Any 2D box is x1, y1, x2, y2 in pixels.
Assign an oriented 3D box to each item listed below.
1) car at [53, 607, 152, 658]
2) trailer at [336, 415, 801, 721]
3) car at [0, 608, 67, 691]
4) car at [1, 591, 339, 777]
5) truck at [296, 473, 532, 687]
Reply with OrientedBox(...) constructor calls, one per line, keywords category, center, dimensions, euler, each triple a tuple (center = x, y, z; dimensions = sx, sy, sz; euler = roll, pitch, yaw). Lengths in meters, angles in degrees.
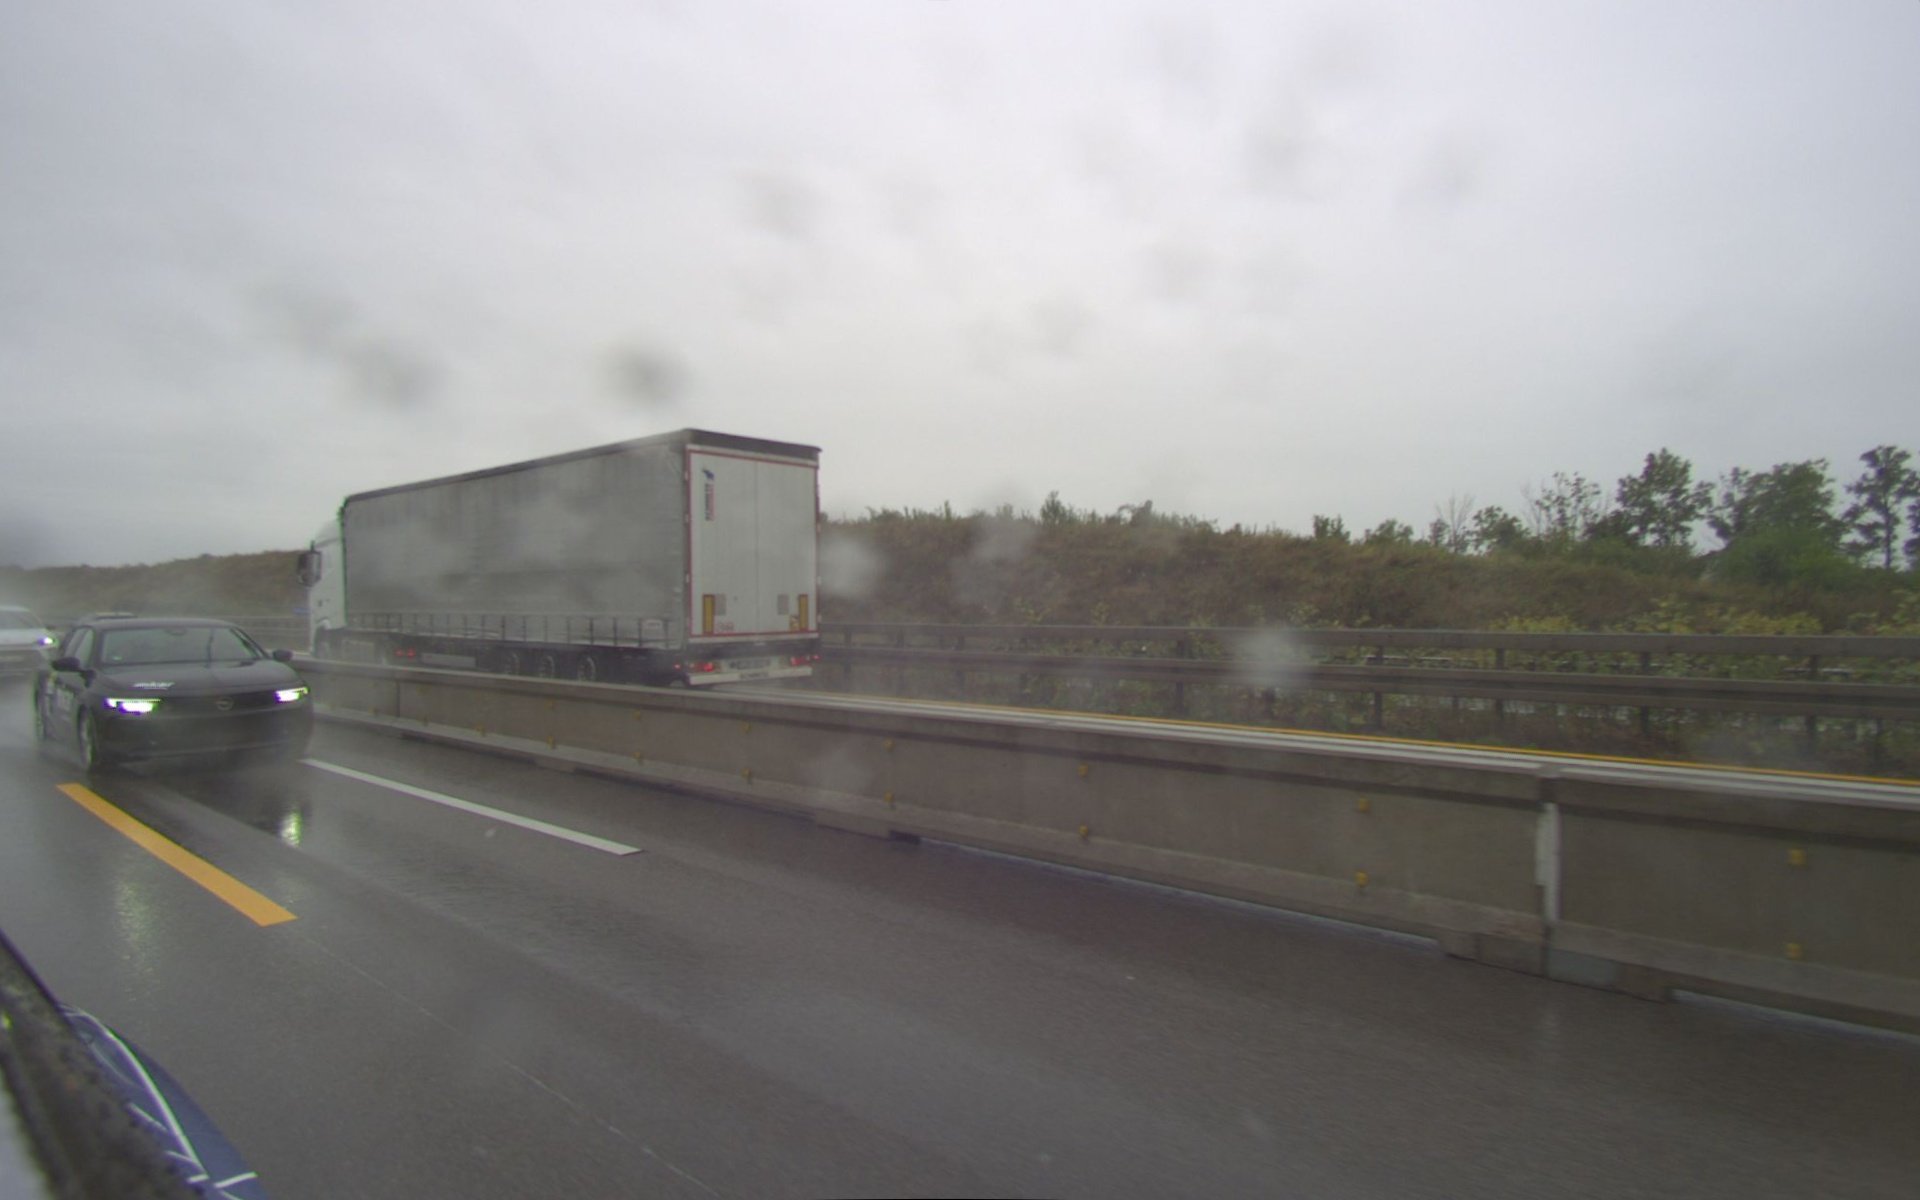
OrientedBox(category="car", center=(-28.138, 1.014, 33.172), dimensions=(3.998, 1.495, 1.873), euler=(0, 1, 41))
OrientedBox(category="trailer", center=(-8.336, -0.441, 19.595), dimensions=(13.065, 4.309, 2.658), euler=(0, 0, 41))
OrientedBox(category="car", center=(-21.228, 1.036, 22.193), dimensions=(3.998, 1.693, 1.946), euler=(0, 0, 41))
OrientedBox(category="car", center=(-8.472, 0.721, 10.678), dimensions=(4.793, 1.539, 1.919), euler=(-1, -1, 41))
OrientedBox(category="truck", center=(-12.913, -0.401, 23.684), dimensions=(6.746, 4.309, 2.680), euler=(0, 0, 41))
